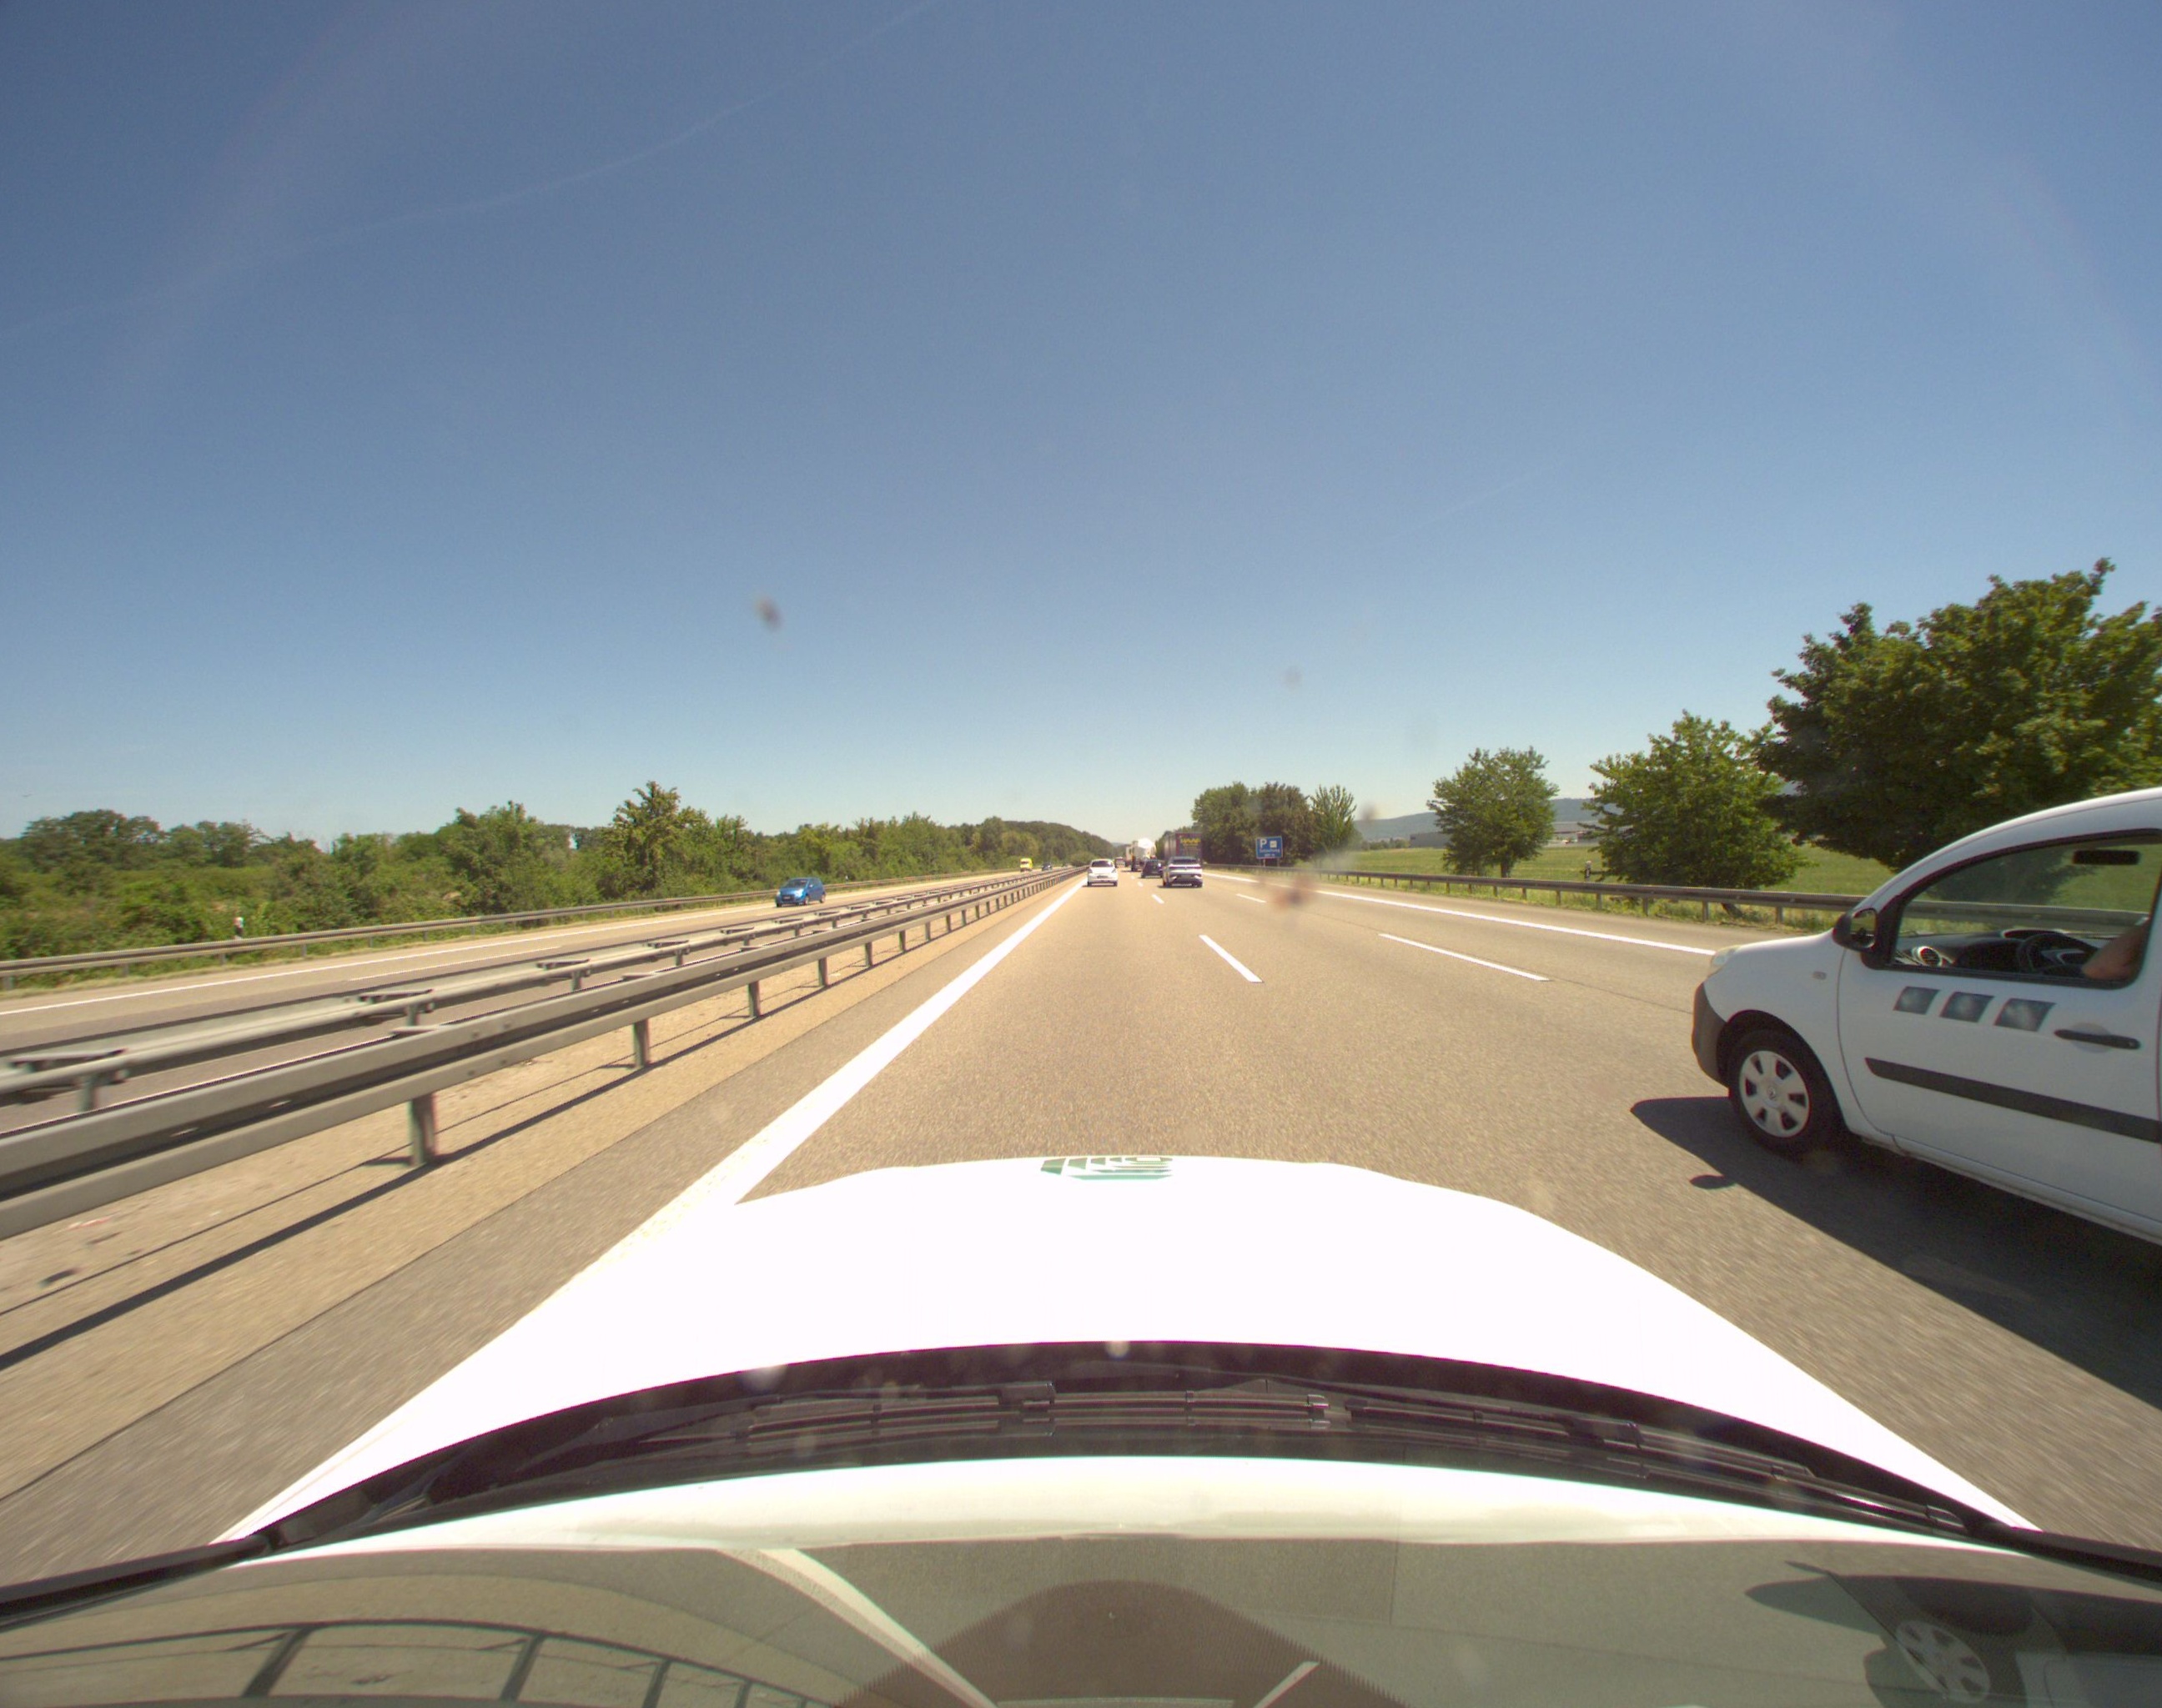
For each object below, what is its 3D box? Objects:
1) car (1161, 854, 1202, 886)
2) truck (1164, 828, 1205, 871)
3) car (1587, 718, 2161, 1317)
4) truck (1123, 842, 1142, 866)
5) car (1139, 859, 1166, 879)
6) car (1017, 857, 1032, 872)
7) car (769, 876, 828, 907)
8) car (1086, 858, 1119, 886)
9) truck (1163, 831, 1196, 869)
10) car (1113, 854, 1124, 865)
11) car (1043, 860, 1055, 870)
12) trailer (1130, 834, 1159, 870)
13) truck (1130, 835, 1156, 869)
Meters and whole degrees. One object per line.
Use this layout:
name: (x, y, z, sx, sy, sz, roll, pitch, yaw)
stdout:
car: (5.299, 0.837, 43.251, 1.795, 1.603, 4.382, 0, 0, 2)
truck: (10.713, -0.422, 85.503, 3.096, 4.139, 15.522, 0, 0, 3)
car: (4.289, 0.507, 3.125, 1.846, 1.863, 4.703, 0, 0, 1)
truck: (9.646, 0.008, 153.826, 3.380, 4.214, 12.092, 0, 0, 3)
car: (5.566, 1.149, 63.743, 1.843, 1.523, 3.959, 0, 0, 2)
car: (-11.209, 2.060, 161.446, 2.157, 2.779, 5.802, -4, 0, 2)
car: (-14.814, 1.934, 42.886, 1.557, 1.424, 3.475, -4, -1, 4)
car: (1.219, 0.993, 46.211, 1.792, 1.552, 3.611, 0, 0, 1)
truck: (11.014, -0.430, 91.716, 3.096, 4.139, 8.062, 0, 0, 3)
car: (8.743, 1.232, 187.554, 2.465, 2.354, 5.185, 0, 0, 3)
car: (-6.023, 2.101, 155.799, 1.861, 1.690, 4.628, -4, 0, 2)
trailer: (7.612, -0.185, 98.417, 2.900, 4.069, 12.423, 0, 0, 2)
truck: (7.763, -0.210, 103.075, 2.901, 4.079, 7.197, 0, 0, 1)
